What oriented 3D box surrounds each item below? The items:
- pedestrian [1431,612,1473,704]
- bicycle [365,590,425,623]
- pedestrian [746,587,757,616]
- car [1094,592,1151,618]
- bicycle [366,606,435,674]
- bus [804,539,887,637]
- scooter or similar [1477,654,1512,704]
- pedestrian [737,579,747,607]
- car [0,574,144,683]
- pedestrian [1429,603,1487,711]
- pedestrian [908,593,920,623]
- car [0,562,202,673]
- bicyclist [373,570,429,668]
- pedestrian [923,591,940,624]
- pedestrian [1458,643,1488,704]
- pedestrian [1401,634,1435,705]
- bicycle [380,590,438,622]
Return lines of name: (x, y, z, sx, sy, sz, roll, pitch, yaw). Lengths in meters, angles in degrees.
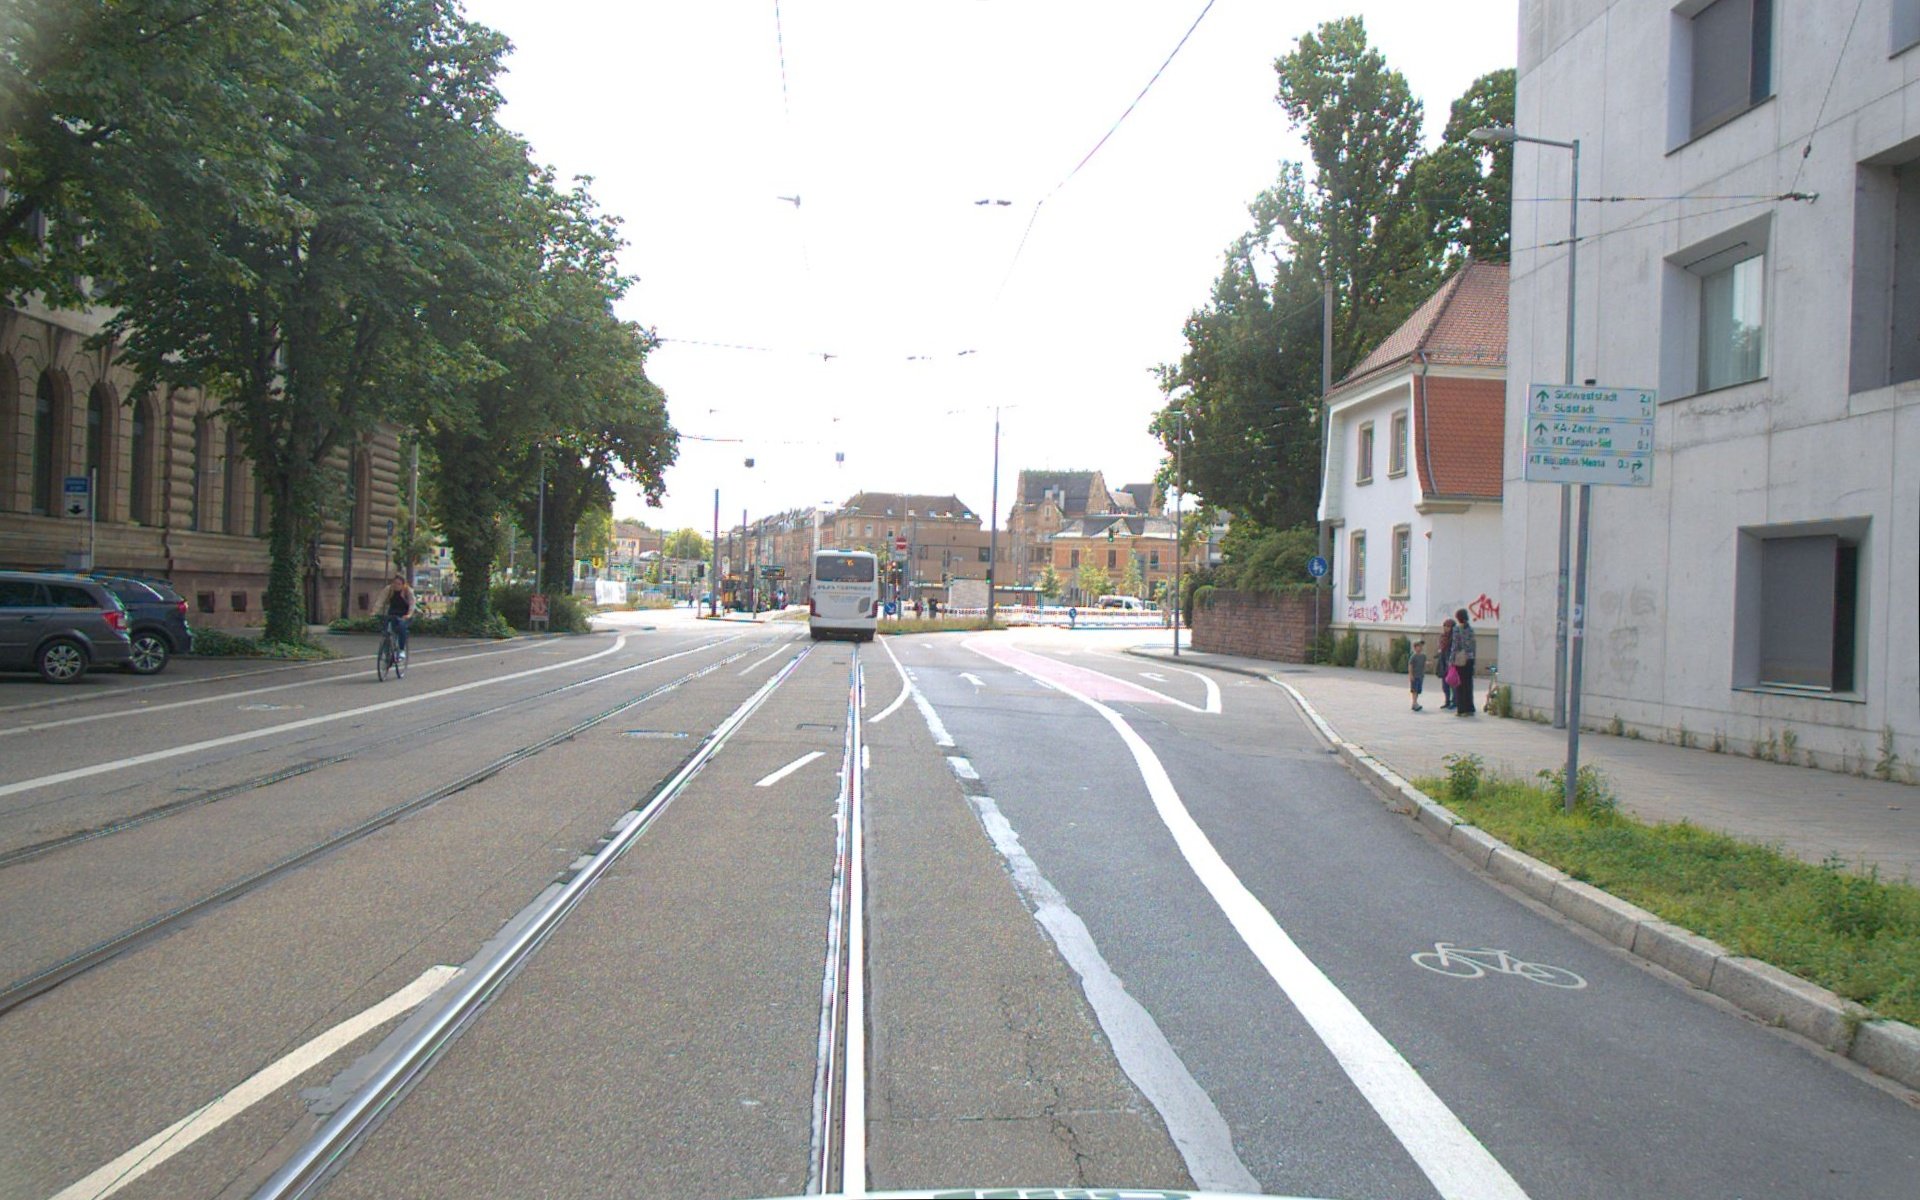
pedestrian: (8.753, 1.025, 29.444, 0.510, 1.608, 0.547, 0, 1, -13)
bicycle: (-22.490, 0.249, 65.878, 2.073, 1.188, 0.729, 3, -1, -6)
pedestrian: (-13.923, 0.077, 110.616, 0.599, 1.918, 0.793, 2, 0, -3)
car: (15.830, 0.482, 161.049, 2.280, 2.359, 5.509, 2, 0, -40)
bicycle: (-8.980, 0.624, 26.601, 0.685, 1.035, 1.816, 1, 0, -7)
bus: (-4.595, -0.403, 65.912, 2.861, 3.386, 12.194, 3, 0, -4)
scooter or similar: (9.247, 1.360, 28.602, 0.542, 0.814, 0.265, -2, 2, -27)
pedestrian: (-15.247, -0.469, 115.539, 0.599, 1.918, 0.793, 2, 0, -3)
car: (-13.763, 0.362, 23.001, 4.185, 1.472, 1.775, 2, 0, -32)
pedestrian: (8.328, 0.939, 27.678, 0.672, 1.754, 0.746, 0, 1, -8)
pedestrian: (-2.740, 0.465, 98.253, 0.598, 1.736, 0.623, 2, 0, 3)
car: (-14.197, 0.245, 25.582, 4.192, 1.577, 1.904, 3, 0, -35)
bicyclist: (-8.970, 0.297, 26.561, 0.678, 1.546, 0.866, 0, 0, -7)
pedestrian: (-1.738, 0.458, 100.016, 0.602, 1.918, 0.789, 2, 0, 42)
pedestrian: (8.911, 1.271, 28.747, 0.336, 1.028, 0.396, 0, 1, -12)
pedestrian: (8.163, 1.236, 29.492, 0.418, 1.221, 0.400, -1, 2, -38)
bicycle: (-22.641, 0.255, 67.968, 2.073, 1.188, 0.729, 3, -1, -6)
